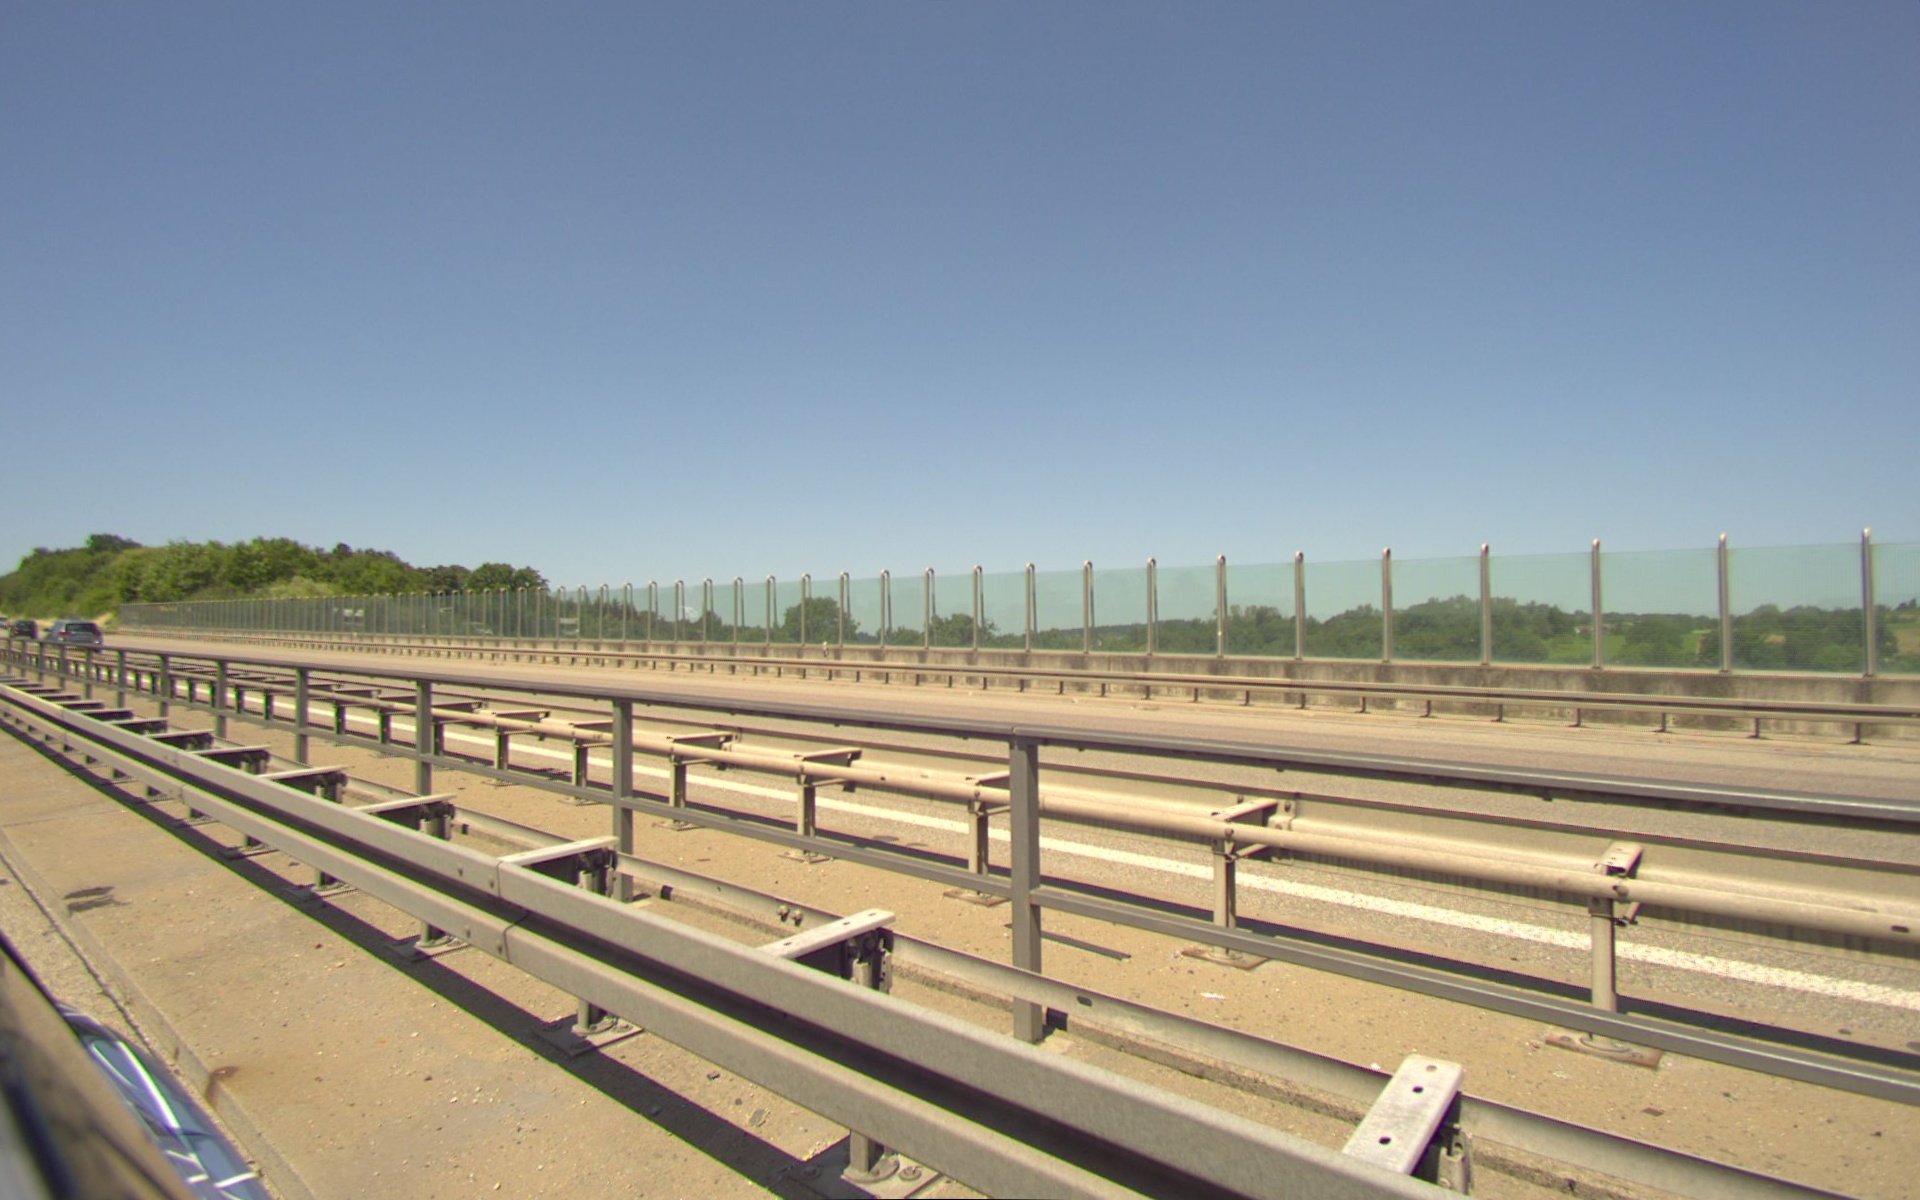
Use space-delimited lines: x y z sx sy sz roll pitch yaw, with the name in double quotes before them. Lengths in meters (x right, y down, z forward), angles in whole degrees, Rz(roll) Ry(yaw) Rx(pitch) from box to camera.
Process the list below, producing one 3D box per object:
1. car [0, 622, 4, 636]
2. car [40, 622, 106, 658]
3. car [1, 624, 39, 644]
"car" -141.651 4.281 148.243 3.998 2.029 1.973 -2 -2 41
"car" -42.356 1.877 48.303 4.475 1.639 1.787 -1 0 41
"car" -84.245 3.028 90.666 4.183 1.685 1.973 -1 -4 40
